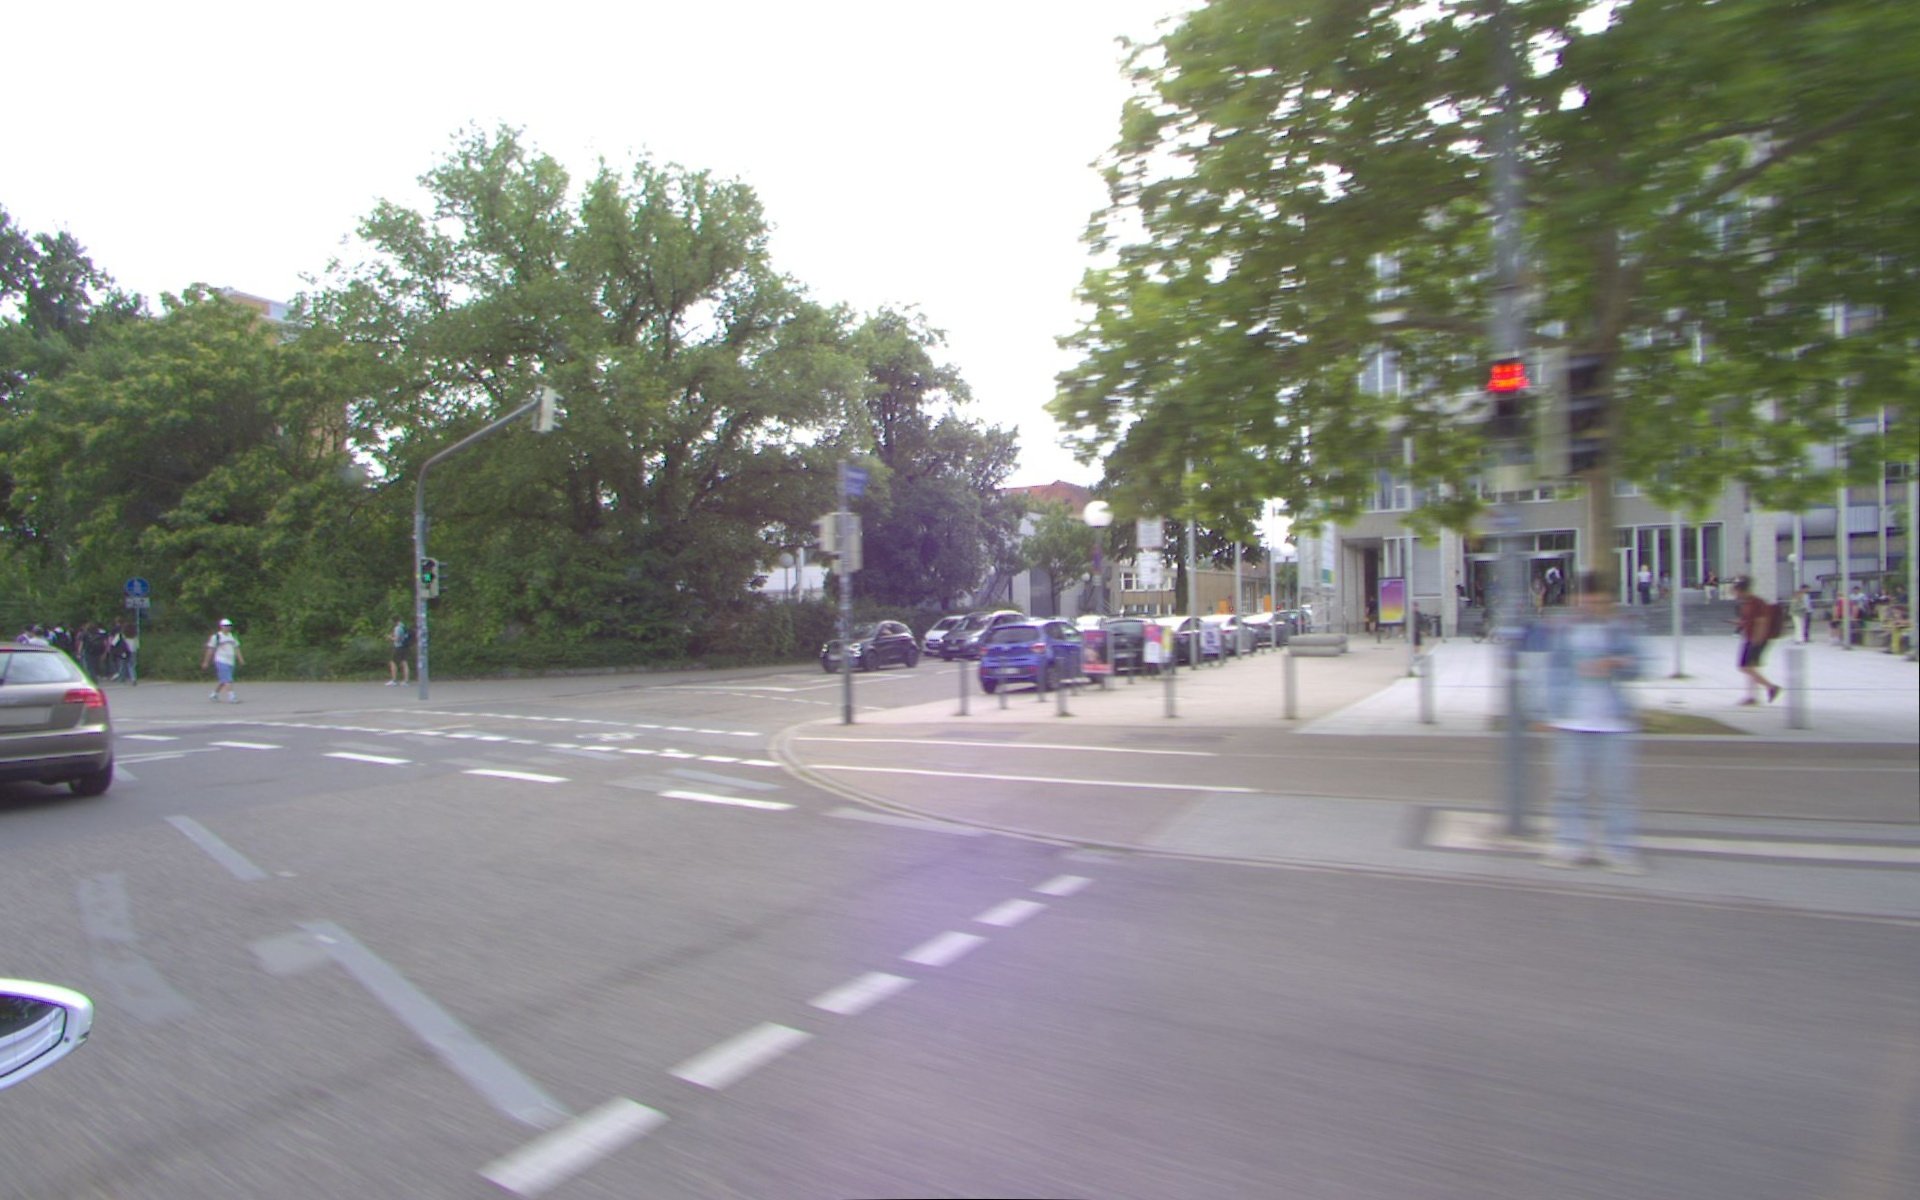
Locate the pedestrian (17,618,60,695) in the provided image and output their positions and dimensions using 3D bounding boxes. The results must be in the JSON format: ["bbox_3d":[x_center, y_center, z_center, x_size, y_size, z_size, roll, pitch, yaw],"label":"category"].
[{"bbox_3d":[-20.901,1.273,22.710,0.627,1.709,0.544,-1,0,31],"label":"pedestrian"}]

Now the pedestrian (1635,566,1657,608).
[{"bbox_3d":[29.350,-0.559,42.870,0.665,1.736,0.626,1,-2,-42],"label":"pedestrian"}]

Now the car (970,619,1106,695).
[{"bbox_3d":[1.809,1.215,22.226,1.650,1.510,3.567,-2,-2,30],"label":"car"}]

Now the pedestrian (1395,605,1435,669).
[{"bbox_3d":[12.666,1.025,27.874,0.945,1.730,0.696,1,-2,-41],"label":"pedestrian"}]

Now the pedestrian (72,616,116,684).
[{"bbox_3d":[-23.122,1.317,26.744,0.769,1.768,0.655,-1,0,31],"label":"pedestrian"}]

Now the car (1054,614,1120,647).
[{"bbox_3d":[5.887,1.386,46.081,1.659,1.460,3.766,-2,-2,31],"label":"car"}]

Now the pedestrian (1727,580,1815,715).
[{"bbox_3d":[11.413,0.668,14.127,0.880,1.827,0.765,-1,-2,35],"label":"pedestrian"}]

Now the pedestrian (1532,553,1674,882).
[{"bbox_3d":[3.863,0.670,6.035,0.672,1.840,0.572,-1,0,33],"label":"pedestrian"}]

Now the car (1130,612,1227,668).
[{"bbox_3d":[6.817,1.200,30.897,1.650,1.587,4.433,-2,-2,30],"label":"car"}]

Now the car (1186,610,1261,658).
[{"bbox_3d":[9.382,1.182,35.491,1.650,1.587,3.815,-2,-2,30],"label":"car"}]

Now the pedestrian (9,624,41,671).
[{"bbox_3d":[-31.998,1.617,34.275,0.774,1.604,0.634,-1,0,34],"label":"pedestrian"}]

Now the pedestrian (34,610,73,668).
[{"bbox_3d":[-27.285,1.163,30.142,0.829,1.712,0.655,-1,0,31],"label":"pedestrian"}]

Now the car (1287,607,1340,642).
[{"bbox_3d":[16.733,1.142,47.329,1.650,1.587,3.972,-2,-2,30],"label":"car"}]

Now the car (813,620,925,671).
[{"bbox_3d":[-2.763,1.371,31.025,1.659,1.460,3.566,-2,-2,31],"label":"car"}]

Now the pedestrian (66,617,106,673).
[{"bbox_3d":[-26.851,1.372,30.766,0.957,1.689,0.655,-1,0,31],"label":"pedestrian"}]

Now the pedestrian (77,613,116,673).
[{"bbox_3d":[-25.609,1.269,29.703,0.769,1.722,0.655,-1,0,31],"label":"pedestrian"}]

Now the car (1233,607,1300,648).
[{"bbox_3d":[12.872,1.132,41.878,1.788,1.587,4.210,-2,-2,30],"label":"car"}]

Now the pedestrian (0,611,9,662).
[{"bbox_3d":[-33.819,1.283,35.158,0.655,1.787,0.483,-1,0,34],"label":"pedestrian"}]

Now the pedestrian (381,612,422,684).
[{"bbox_3d":[-14.516,1.239,26.041,0.729,1.819,0.643,-1,0,31],"label":"pedestrian"}]

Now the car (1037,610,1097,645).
[{"bbox_3d":[5.469,1.375,50.871,1.547,1.624,3.882,-4,-3,29],"label":"car"}]

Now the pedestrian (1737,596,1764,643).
[{"bbox_3d":[28.507,0.714,36.112,0.625,1.661,0.598,1,-2,-36],"label":"pedestrian"}]

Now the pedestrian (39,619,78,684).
[{"bbox_3d":[-24.856,1.413,27.601,0.778,1.768,0.580,-1,0,31],"label":"pedestrian"}]

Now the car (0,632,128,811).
[{"bbox_3d":[-9.490,1.053,9.364,3.686,1.476,1.719,-1,-1,35],"label":"car"}]

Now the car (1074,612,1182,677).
[{"bbox_3d":[4.540,1.147,26.713,1.650,1.587,3.679,-2,-2,30],"label":"car"}]

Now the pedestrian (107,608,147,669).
[{"bbox_3d":[-24.467,1.117,29.416,0.769,1.768,0.655,-1,0,31],"label":"pedestrian"}]

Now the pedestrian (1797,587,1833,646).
[{"bbox_3d":[27.347,0.542,32.049,0.591,1.867,0.727,0,-1,16],"label":"pedestrian"}]

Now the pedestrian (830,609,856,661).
[{"bbox_3d":[-4.291,1.266,36.732,0.719,1.875,0.800,-1,0,14],"label":"pedestrian"}]

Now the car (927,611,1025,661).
[{"bbox_3d":[0.657,1.292,36.681,1.659,1.714,4.275,-2,-2,31],"label":"car"}]

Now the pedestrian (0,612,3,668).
[{"bbox_3d":[-31.972,1.332,32.866,0.801,1.845,0.654,-1,0,34],"label":"pedestrian"}]

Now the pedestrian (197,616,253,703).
[{"bbox_3d":[-16.307,1.312,22.215,0.815,1.876,0.646,-1,-1,19],"label":"pedestrian"}]

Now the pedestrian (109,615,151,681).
[{"bbox_3d":[-22.713,1.296,27.397,0.769,1.768,0.655,-1,0,31],"label":"pedestrian"}]

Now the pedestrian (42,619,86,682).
[{"bbox_3d":[-26.051,1.451,29.106,0.944,1.790,0.655,-1,2,31],"label":"pedestrian"}]

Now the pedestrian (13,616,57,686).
[{"bbox_3d":[-23.912,1.303,25.878,0.769,1.768,0.623,-1,0,31],"label":"pedestrian"}]

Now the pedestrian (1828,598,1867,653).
[{"bbox_3d":[26.596,0.760,30.022,0.592,1.617,0.727,-1,-1,18],"label":"pedestrian"}]

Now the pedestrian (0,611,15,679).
[{"bbox_3d":[-25.447,1.188,26.354,0.769,1.768,0.655,-1,0,31],"label":"pedestrian"}]
